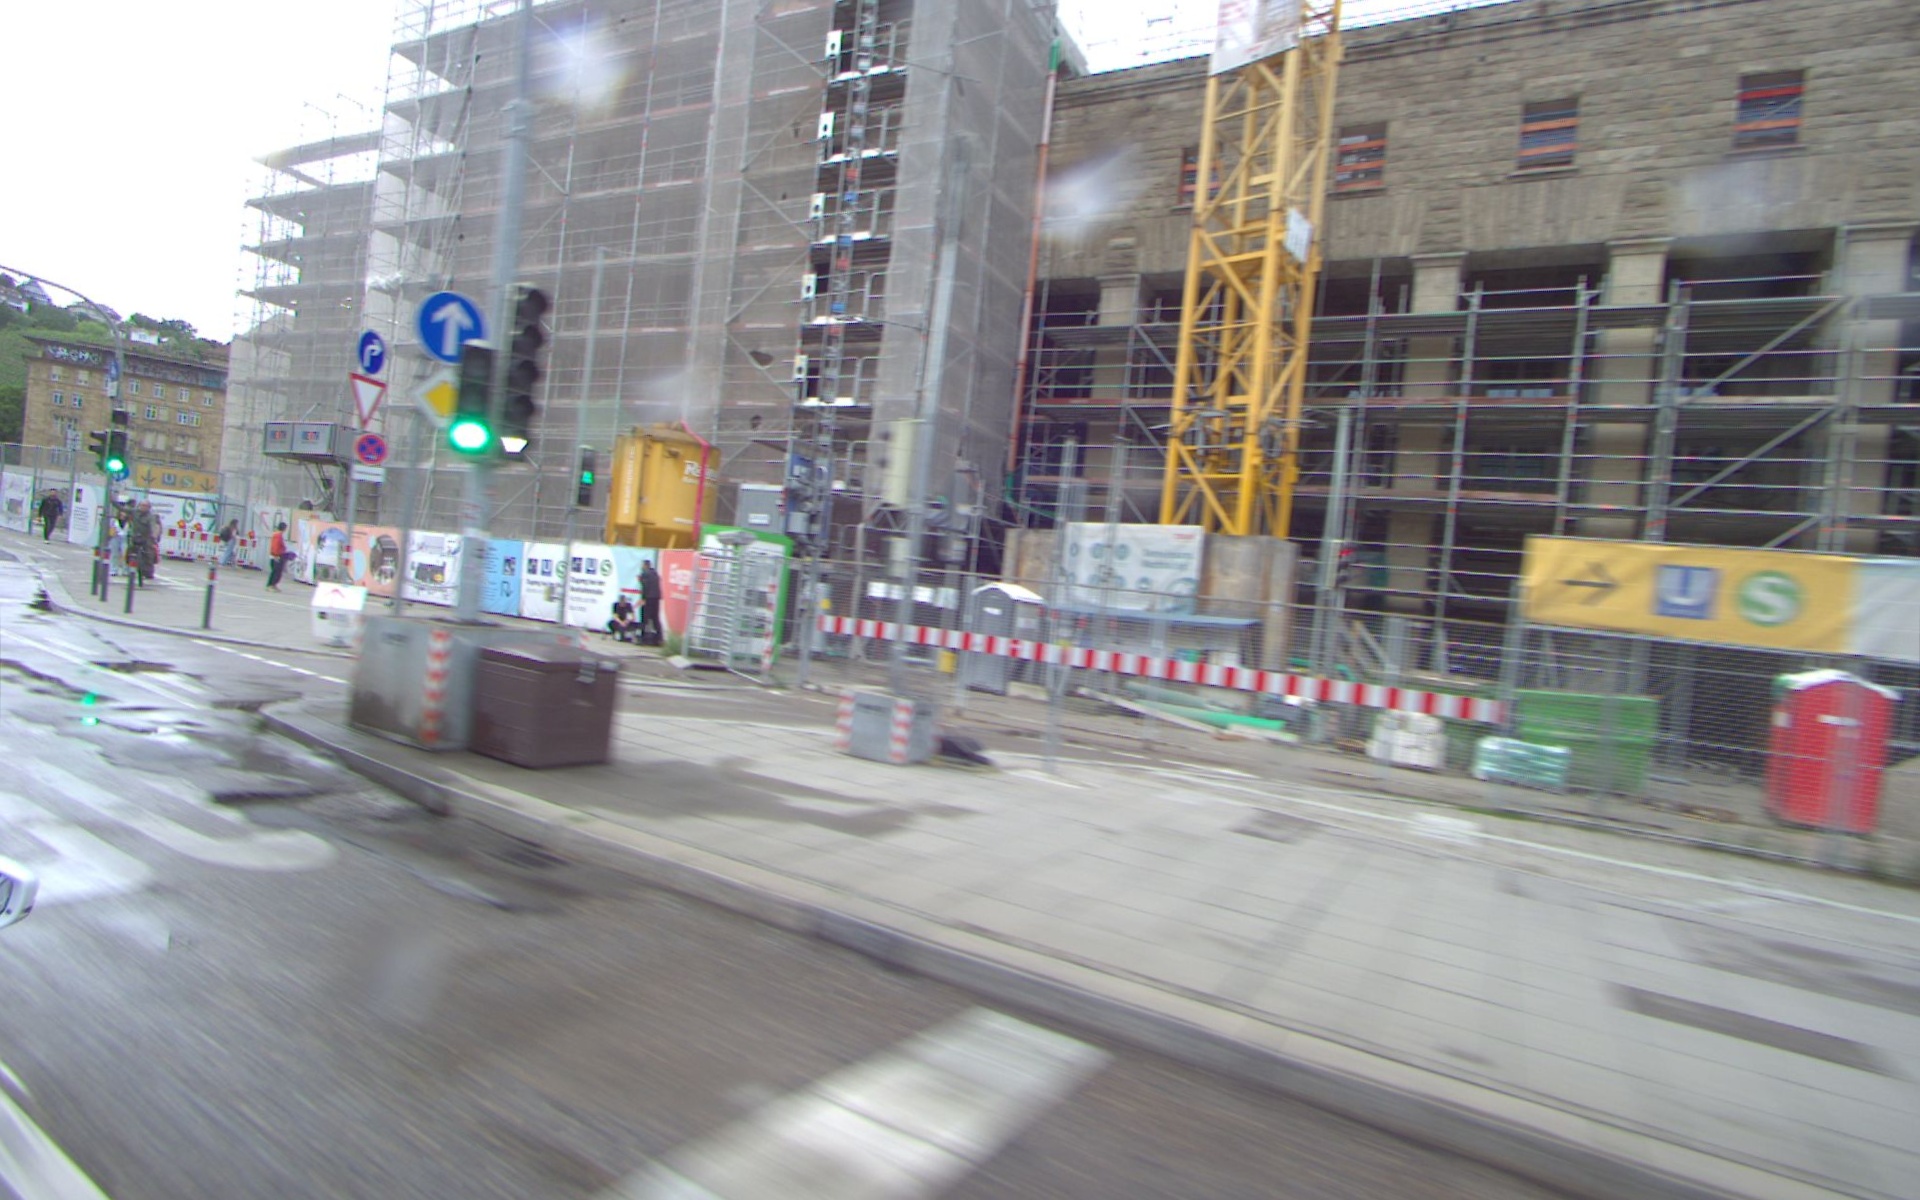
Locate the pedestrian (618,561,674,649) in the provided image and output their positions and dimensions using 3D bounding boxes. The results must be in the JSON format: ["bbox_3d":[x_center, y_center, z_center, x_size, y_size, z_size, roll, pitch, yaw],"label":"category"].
[{"bbox_3d":[-6.430,0.101,20.598,0.701,1.693,0.789,6,0,-39],"label":"pedestrian"}]

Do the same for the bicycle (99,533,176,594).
[{"bbox_3d":[-17.262,-0.773,21.094,1.778,1.062,0.708,7,-1,35],"label":"bicycle"}]

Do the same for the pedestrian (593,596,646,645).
[{"bbox_3d":[-7.340,0.436,21.672,0.791,0.952,0.709,6,0,-41],"label":"pedestrian"}]

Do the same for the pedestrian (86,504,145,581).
[{"bbox_3d":[-19.261,-1.306,22.972,0.788,1.628,0.829,6,0,-31],"label":"pedestrian"}]

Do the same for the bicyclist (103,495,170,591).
[{"bbox_3d":[-17.305,-1.197,21.147,0.953,1.867,0.704,6,-1,35],"label":"bicyclist"}]

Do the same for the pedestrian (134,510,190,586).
[{"bbox_3d":[-18.528,-1.196,23.378,0.788,1.628,0.829,6,0,-30],"label":"pedestrian"}]

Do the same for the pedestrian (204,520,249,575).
[{"bbox_3d":[-24.243,-1.714,33.235,0.784,1.682,0.865,6,0,33],"label":"pedestrian"}]

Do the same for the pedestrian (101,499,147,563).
[{"bbox_3d":[-25.995,-2.130,31.287,0.786,1.864,0.863,6,0,40],"label":"pedestrian"}]

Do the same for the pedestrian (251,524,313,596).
[{"bbox_3d":[-16.650,-0.974,24.725,0.847,1.628,0.770,6,0,16],"label":"pedestrian"}]

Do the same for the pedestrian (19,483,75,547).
[{"bbox_3d":[-28.875,-2.671,31.834,0.854,1.864,0.946,6,0,-17],"label":"pedestrian"}]
